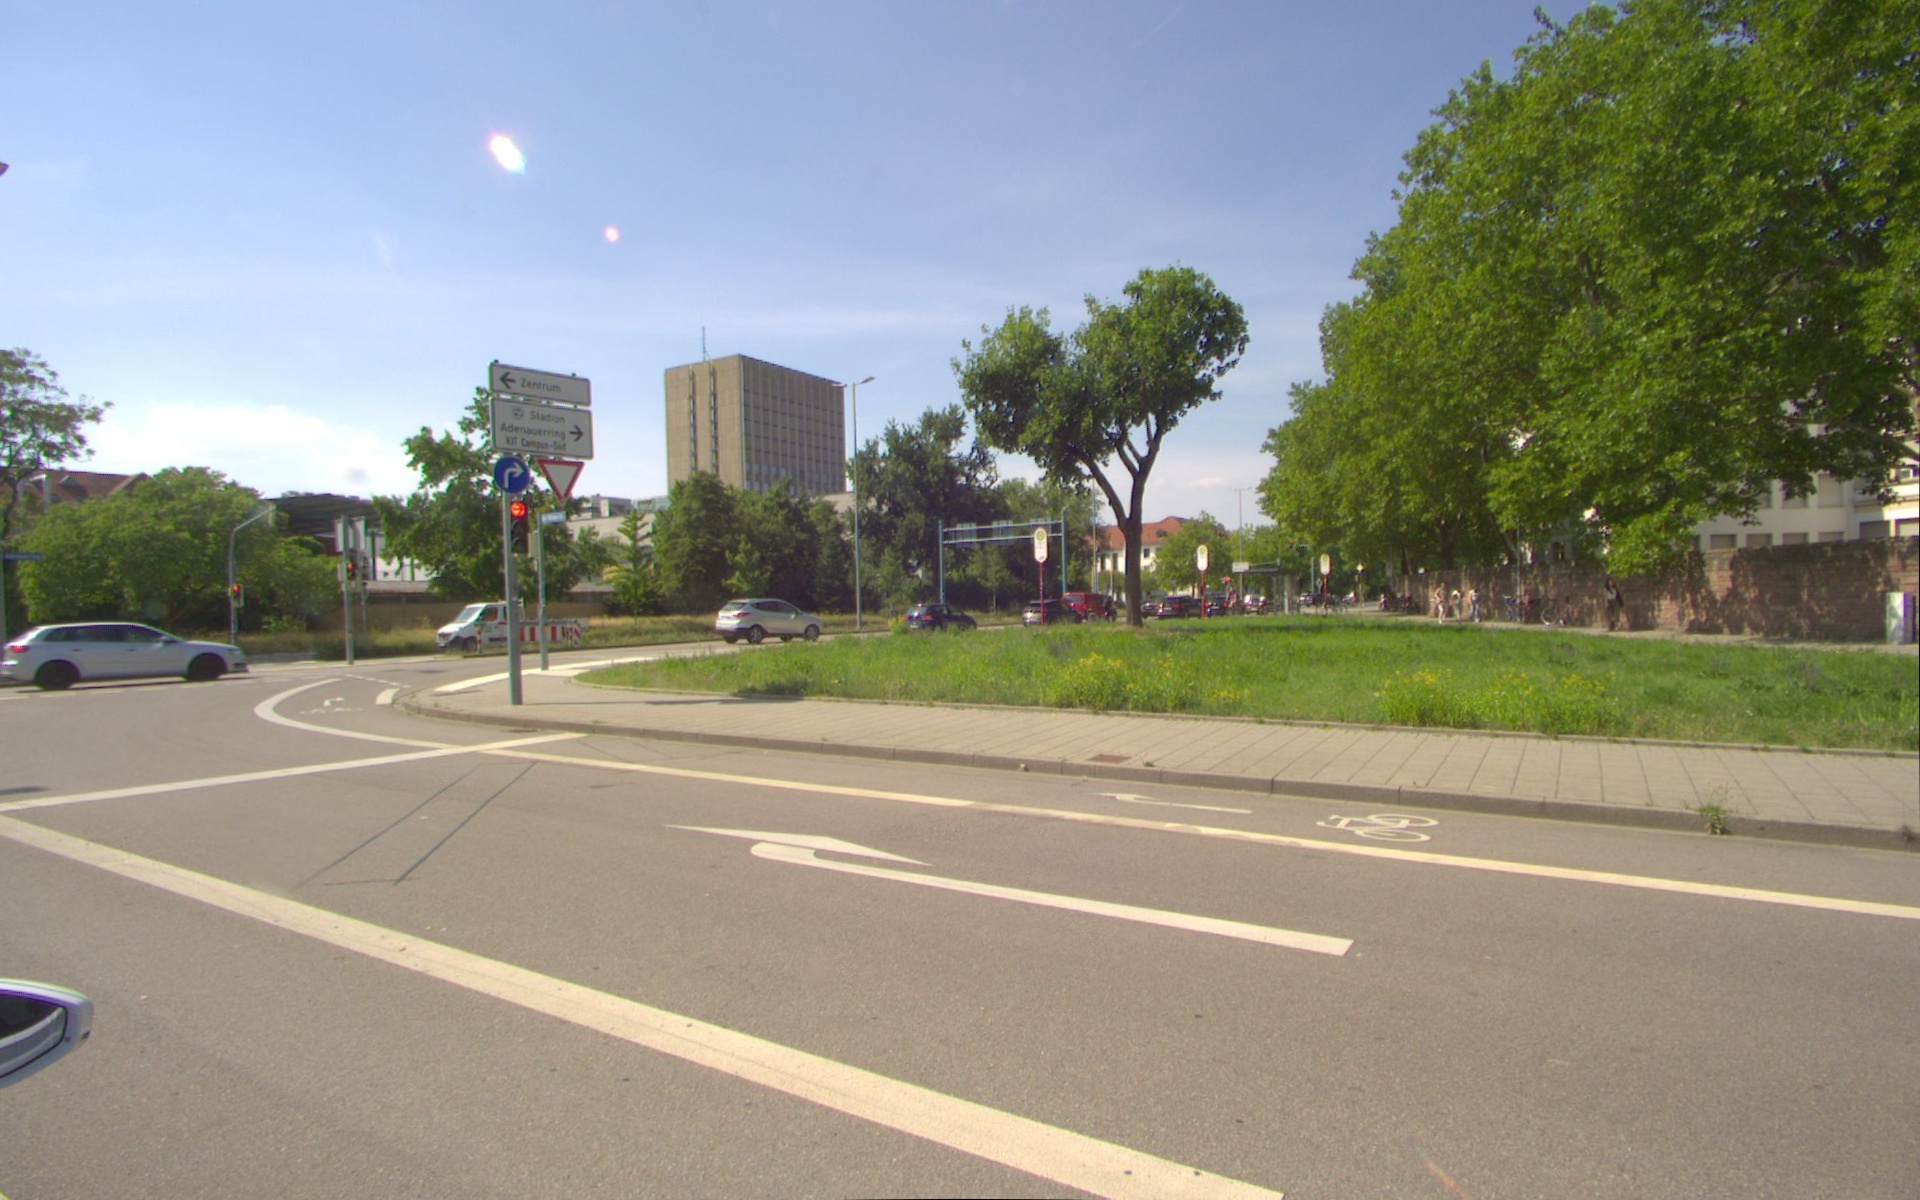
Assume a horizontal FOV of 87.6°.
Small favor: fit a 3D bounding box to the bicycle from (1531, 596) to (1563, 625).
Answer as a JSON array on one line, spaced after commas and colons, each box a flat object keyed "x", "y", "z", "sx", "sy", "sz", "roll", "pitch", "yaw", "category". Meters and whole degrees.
[{"x": 21.616, "y": 0.380, "z": 36.888, "sx": 0.439, "sy": 1.047, "sz": 1.447, "roll": -1, "pitch": 1, "yaw": 6, "category": "bicycle"}]

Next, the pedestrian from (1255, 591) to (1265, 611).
[{"x": 22.516, "y": 0.047, "z": 75.031, "sx": 0.552, "sy": 1.458, "sz": 0.729, "roll": 0, "pitch": 1, "yaw": 30, "category": "pedestrian"}]

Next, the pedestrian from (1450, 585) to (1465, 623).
[{"x": 20.880, "y": 0.168, "z": 42.028, "sx": 0.515, "sy": 1.599, "sz": 0.701, "roll": -1, "pitch": 1, "yaw": 23, "category": "pedestrian"}]

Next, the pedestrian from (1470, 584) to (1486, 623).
[{"x": 21.577, "y": 0.154, "z": 41.746, "sx": 0.515, "sy": 1.599, "sz": 0.701, "roll": -1, "pitch": 1, "yaw": 23, "category": "pedestrian"}]

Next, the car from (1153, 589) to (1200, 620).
[{"x": 14.724, "y": 0.294, "z": 68.087, "sx": 1.970, "sy": 2.041, "sz": 3.980, "roll": -1, "pitch": 1, "yaw": 30, "category": "car"}]

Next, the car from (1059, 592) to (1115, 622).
[{"x": 8.242, "y": 0.443, "z": 64.622, "sx": 1.950, "sy": 1.821, "sz": 4.587, "roll": -1, "pitch": 1, "yaw": 31, "category": "car"}]

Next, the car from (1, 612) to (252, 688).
[{"x": -18.648, "y": 1.050, "z": 22.554, "sx": 1.567, "sy": 1.439, "sz": 4.135, "roll": 0, "pitch": 1, "yaw": 42, "category": "car"}]

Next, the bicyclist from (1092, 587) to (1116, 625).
[{"x": 7.844, "y": 0.352, "z": 54.575, "sx": 0.769, "sy": 2.039, "sz": 1.265, "roll": -1, "pitch": -2, "yaw": 38, "category": "bicyclist"}]

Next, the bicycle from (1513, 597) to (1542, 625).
[{"x": 21.774, "y": 0.420, "z": 38.428, "sx": 0.439, "sy": 1.047, "sz": 1.447, "roll": -1, "pitch": 1, "yaw": 6, "category": "bicycle"}]

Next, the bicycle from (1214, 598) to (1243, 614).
[{"x": 15.253, "y": 0.334, "z": 56.840, "sx": 1.912, "sy": 0.899, "sz": 0.679, "roll": -2, "pitch": 1, "yaw": -42, "category": "bicycle"}]

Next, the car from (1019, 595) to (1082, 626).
[{"x": 4.965, "y": 0.551, "z": 54.501, "sx": 1.564, "sy": 1.612, "sz": 3.972, "roll": -1, "pitch": 1, "yaw": 37, "category": "car"}]

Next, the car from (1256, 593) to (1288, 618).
[{"x": 27.493, "y": 0.513, "z": 88.152, "sx": 1.970, "sy": 2.039, "sz": 3.984, "roll": -1, "pitch": -2, "yaw": 29, "category": "car"}]

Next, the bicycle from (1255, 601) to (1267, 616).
[{"x": 22.534, "y": 0.611, "z": 75.049, "sx": 0.552, "sy": 1.066, "sz": 1.318, "roll": -1, "pitch": 1, "yaw": 30, "category": "bicycle"}]

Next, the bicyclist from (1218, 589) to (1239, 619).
[{"x": 15.288, "y": 0.220, "z": 57.013, "sx": 1.068, "sy": 1.659, "sz": 0.486, "roll": -1, "pitch": 1, "yaw": 29, "category": "bicyclist"}]

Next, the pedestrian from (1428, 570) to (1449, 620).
[{"x": 19.777, "y": -0.208, "z": 41.369, "sx": 0.513, "sy": 2.040, "sz": 0.596, "roll": -2, "pitch": 1, "yaw": -9, "category": "pedestrian"}]

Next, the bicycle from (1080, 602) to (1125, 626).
[{"x": 7.798, "y": 0.772, "z": 54.523, "sx": 0.838, "sy": 1.233, "sz": 3.462, "roll": -1, "pitch": -2, "yaw": 37, "category": "bicycle"}]

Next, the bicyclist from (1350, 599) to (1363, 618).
[{"x": 43.301, "y": 0.979, "z": 109.266, "sx": 1.160, "sy": 2.039, "sz": 1.094, "roll": -1, "pitch": -1, "yaw": 29, "category": "bicyclist"}]

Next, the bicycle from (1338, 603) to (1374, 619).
[{"x": 43.221, "y": 1.206, "z": 109.311, "sx": 3.583, "sy": 1.626, "sz": 1.092, "roll": -1, "pitch": -2, "yaw": 29, "category": "bicycle"}]

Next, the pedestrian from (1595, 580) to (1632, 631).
[{"x": 20.487, "y": 0.165, "z": 31.407, "sx": 0.493, "sy": 1.569, "sz": 0.913, "roll": -1, "pitch": 1, "yaw": -4, "category": "pedestrian"}]

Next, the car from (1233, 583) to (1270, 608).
[{"x": 24.025, "y": -0.380, "z": 82.502, "sx": 1.970, "sy": 2.041, "sz": 3.980, "roll": -1, "pitch": 1, "yaw": 30, "category": "car"}]

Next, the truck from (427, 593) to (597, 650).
[{"x": -20.625, "y": 0.927, "z": 46.522, "sx": 2.379, "sy": 2.387, "sz": 7.007, "roll": -1, "pitch": 1, "yaw": 33, "category": "truck"}]

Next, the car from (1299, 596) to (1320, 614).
[{"x": 42.260, "y": 0.573, "z": 121.126, "sx": 1.968, "sy": 2.039, "sz": 3.987, "roll": -1, "pitch": -2, "yaw": 26, "category": "car"}]

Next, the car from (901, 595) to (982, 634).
[{"x": -0.789, "y": 0.639, "z": 45.712, "sx": 1.564, "sy": 1.612, "sz": 3.972, "roll": -1, "pitch": 1, "yaw": 37, "category": "car"}]

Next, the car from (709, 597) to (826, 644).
[{"x": -7.341, "y": 0.736, "z": 38.487, "sx": 1.693, "sy": 1.640, "sz": 4.178, "roll": 0, "pitch": 1, "yaw": 44, "category": "car"}]

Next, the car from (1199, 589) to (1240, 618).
[{"x": 19.522, "y": 0.255, "z": 75.367, "sx": 1.970, "sy": 2.041, "sz": 3.980, "roll": -1, "pitch": 1, "yaw": 30, "category": "car"}]
